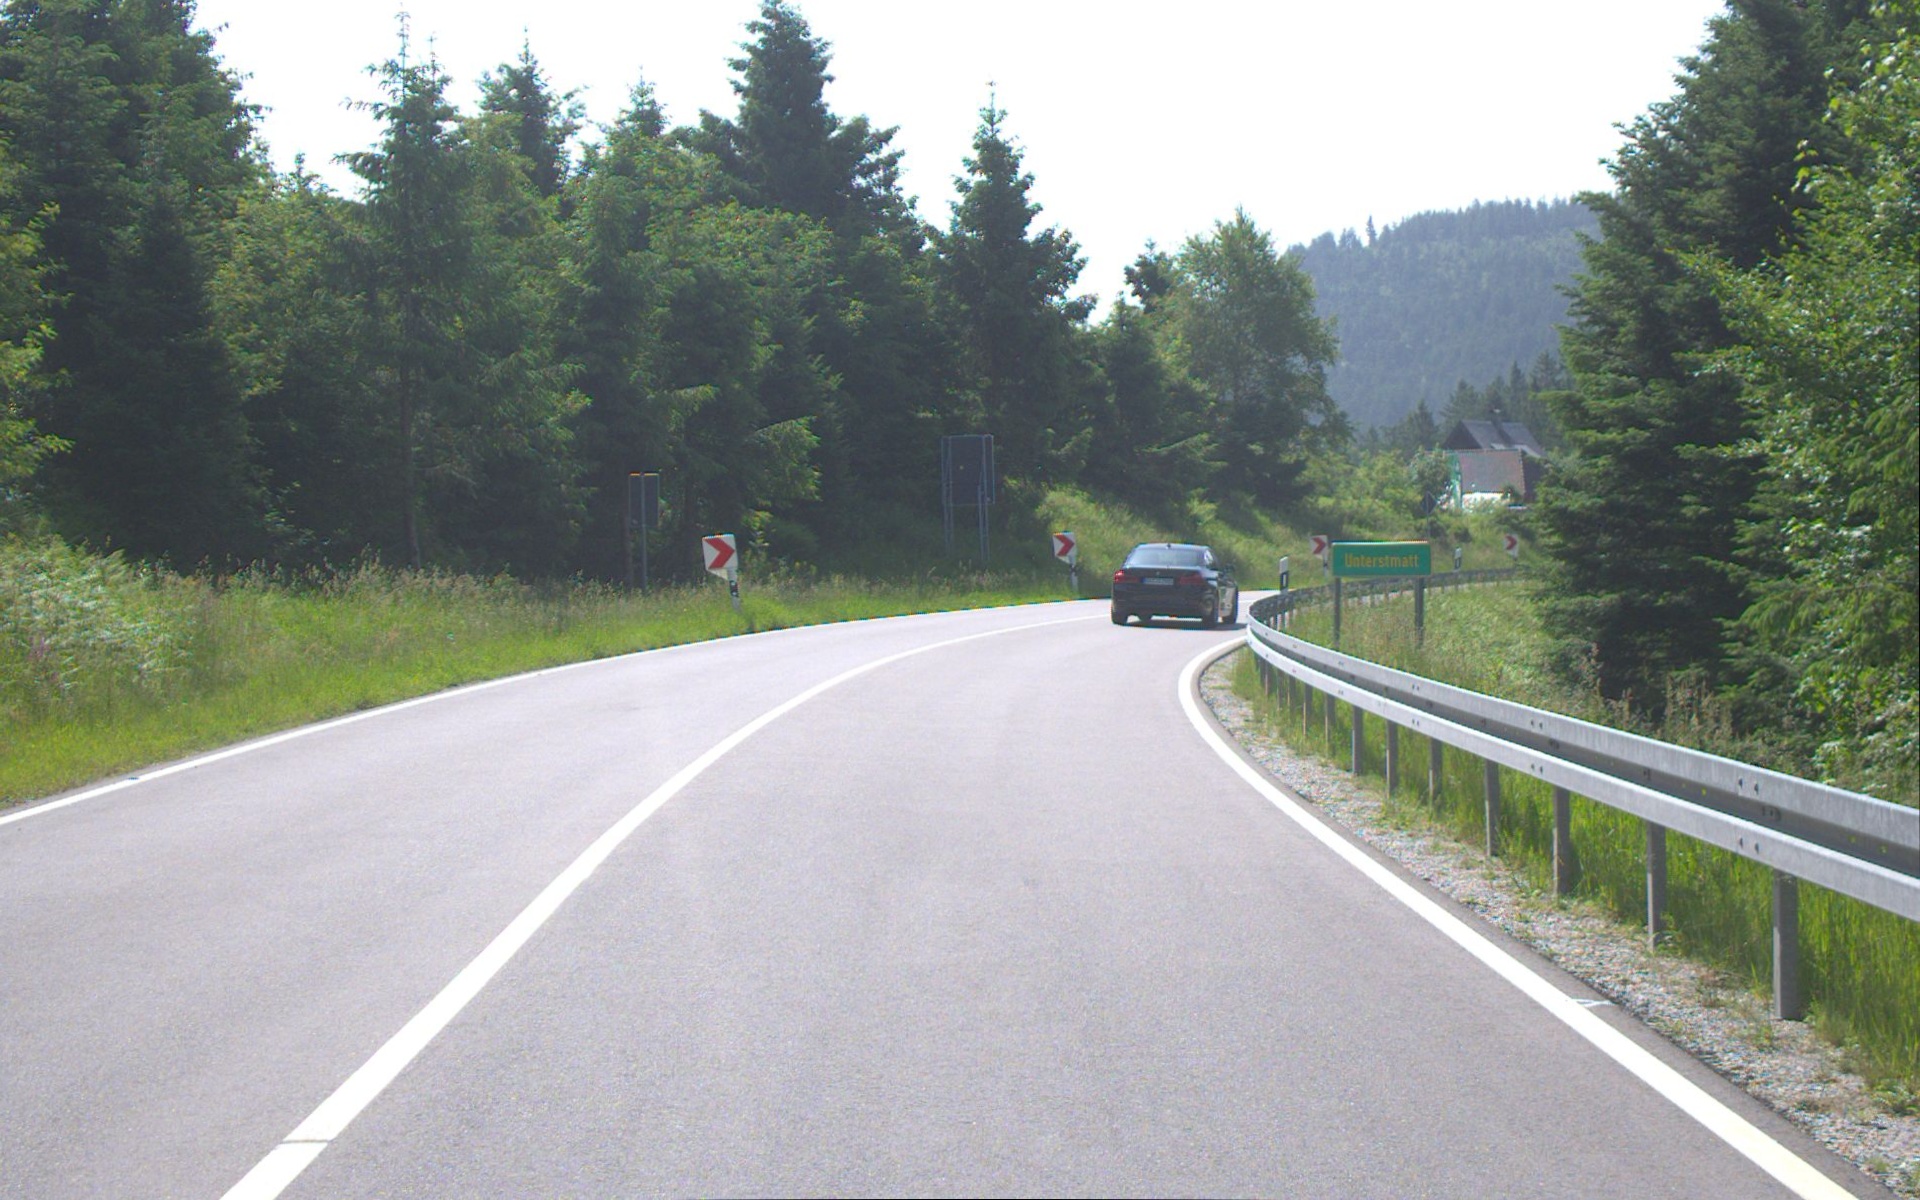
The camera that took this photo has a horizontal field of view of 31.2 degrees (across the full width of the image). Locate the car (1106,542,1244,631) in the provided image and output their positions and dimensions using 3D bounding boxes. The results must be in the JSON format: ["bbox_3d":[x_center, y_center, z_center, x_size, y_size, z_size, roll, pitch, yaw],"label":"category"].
[{"bbox_3d":[3.762,-0.253,59.626,1.777,1.437,3.707,1,2,13],"label":"car"}]
